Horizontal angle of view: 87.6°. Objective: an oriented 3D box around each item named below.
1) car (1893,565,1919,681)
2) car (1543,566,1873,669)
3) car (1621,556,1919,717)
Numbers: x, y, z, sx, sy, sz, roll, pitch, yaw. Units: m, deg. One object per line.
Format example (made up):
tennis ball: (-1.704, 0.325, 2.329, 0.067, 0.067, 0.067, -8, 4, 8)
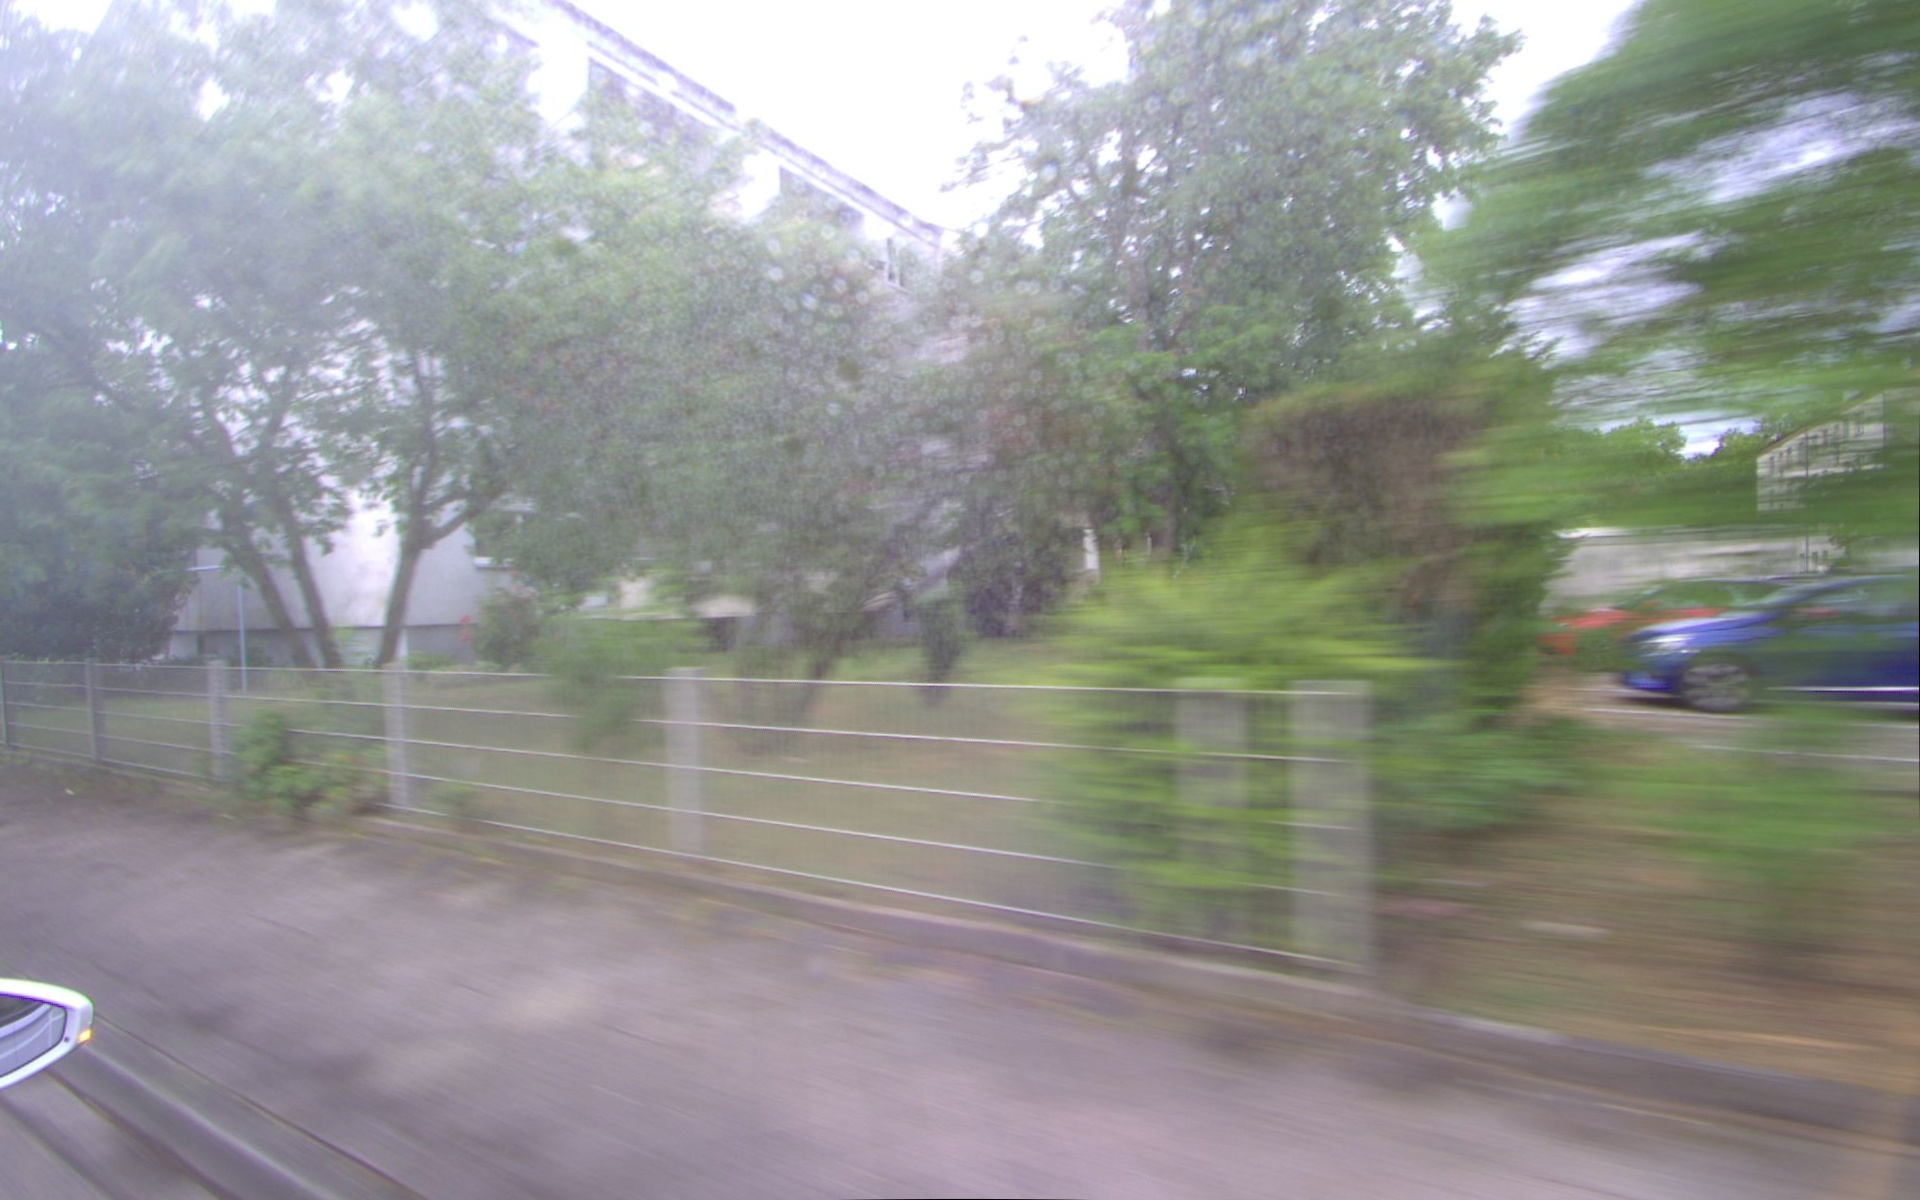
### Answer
car: (15.433, 0.289, 13.030, 4.486, 1.609, 1.978, -1, 0, 32)
car: (11.289, 0.268, 15.514, 3.852, 1.399, 1.962, -1, 0, 30)
car: (9.363, 0.353, 10.549, 3.852, 1.530, 2.018, -1, 0, 30)
